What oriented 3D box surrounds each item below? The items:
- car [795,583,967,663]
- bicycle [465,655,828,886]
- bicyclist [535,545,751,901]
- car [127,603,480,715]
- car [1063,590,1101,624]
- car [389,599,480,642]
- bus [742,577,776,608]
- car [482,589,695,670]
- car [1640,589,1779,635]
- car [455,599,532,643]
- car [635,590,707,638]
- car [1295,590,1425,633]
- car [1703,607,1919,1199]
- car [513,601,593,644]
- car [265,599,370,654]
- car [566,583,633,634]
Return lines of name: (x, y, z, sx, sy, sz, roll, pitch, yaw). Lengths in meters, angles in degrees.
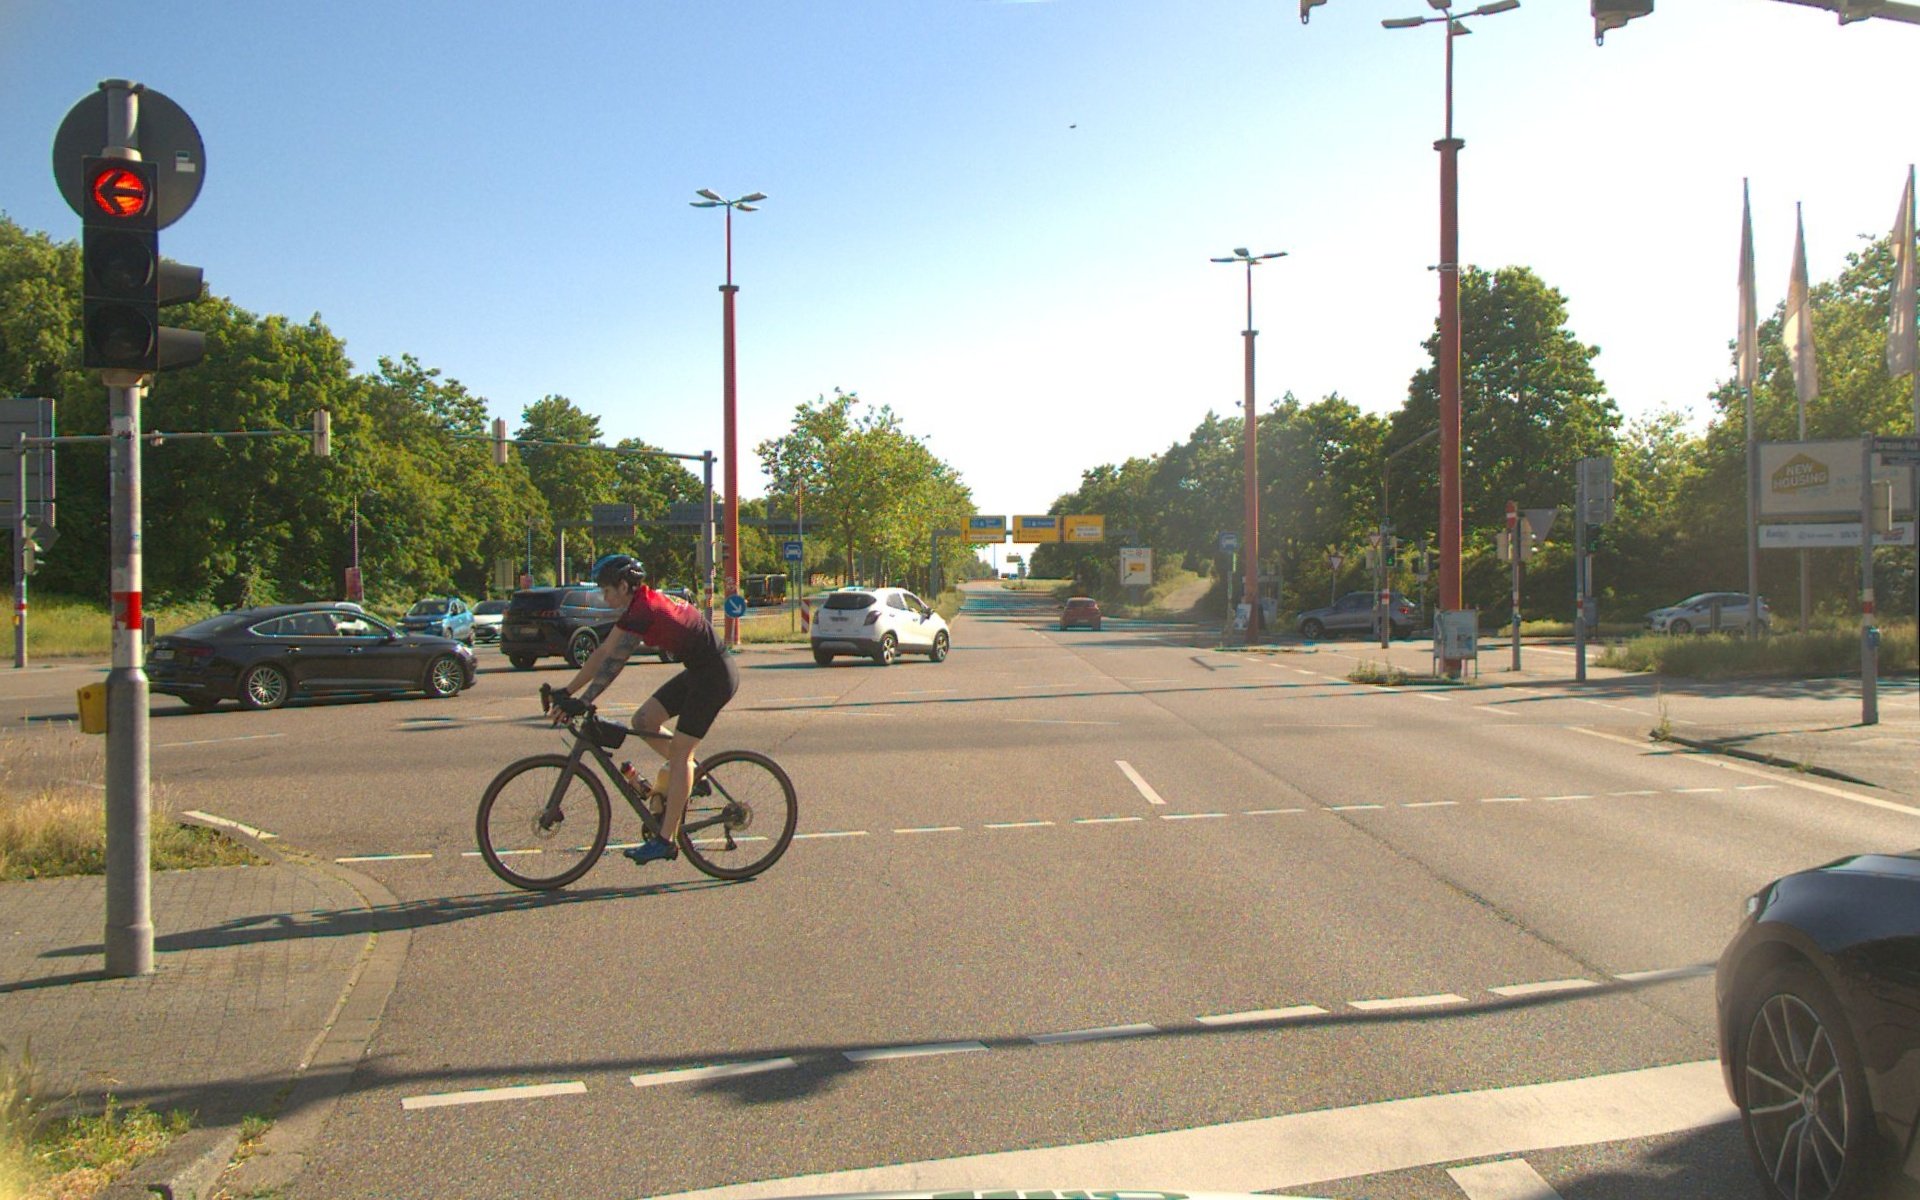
car: (-1.683, 0.472, 36.614, 1.789, 1.665, 4.244, 0, 0, 30)
bicycle: (-1.670, 0.862, 8.808, 1.800, 1.076, 0.718, 0, 0, -22)
bicyclist: (-1.689, 0.607, 8.773, 0.981, 1.772, 0.731, 0, 0, -25)
car: (-9.060, 0.746, 23.140, 1.731, 1.373, 4.344, 0, 0, 38)
car: (5.521, 0.298, 74.506, 1.644, 1.460, 4.068, 0, 0, 5)
car: (-16.056, 0.610, 50.677, 1.704, 1.265, 3.611, 0, 0, -2)
bus: (-21.575, -0.800, 178.018, 2.441, 3.295, 9.998, 0, 0, -1)
car: (-7.670, 0.572, 34.479, 1.820, 1.572, 4.247, 0, 0, 35)
car: (25.088, 0.393, 55.439, 3.897, 1.493, 1.685, 0, 0, 5)
car: (-15.927, 0.700, 56.624, 1.704, 1.436, 3.611, 0, 0, -2)
car: (-9.720, 0.445, 55.849, 1.782, 1.534, 3.999, 0, 0, -1)
car: (14.433, 0.412, 59.693, 4.238, 1.511, 1.781, 0, 0, 33)
car: (2.934, 0.734, 2.361, 1.831, 1.422, 4.444, 0, 0, 1)
car: (-12.675, 0.668, 51.699, 1.704, 1.265, 3.611, 0, 0, -2)
car: (-19.479, 0.774, 50.316, 1.725, 1.559, 3.934, 0, 0, -2)
car: (-15.426, 0.370, 71.005, 1.855, 2.061, 5.221, 1, 0, -2)
